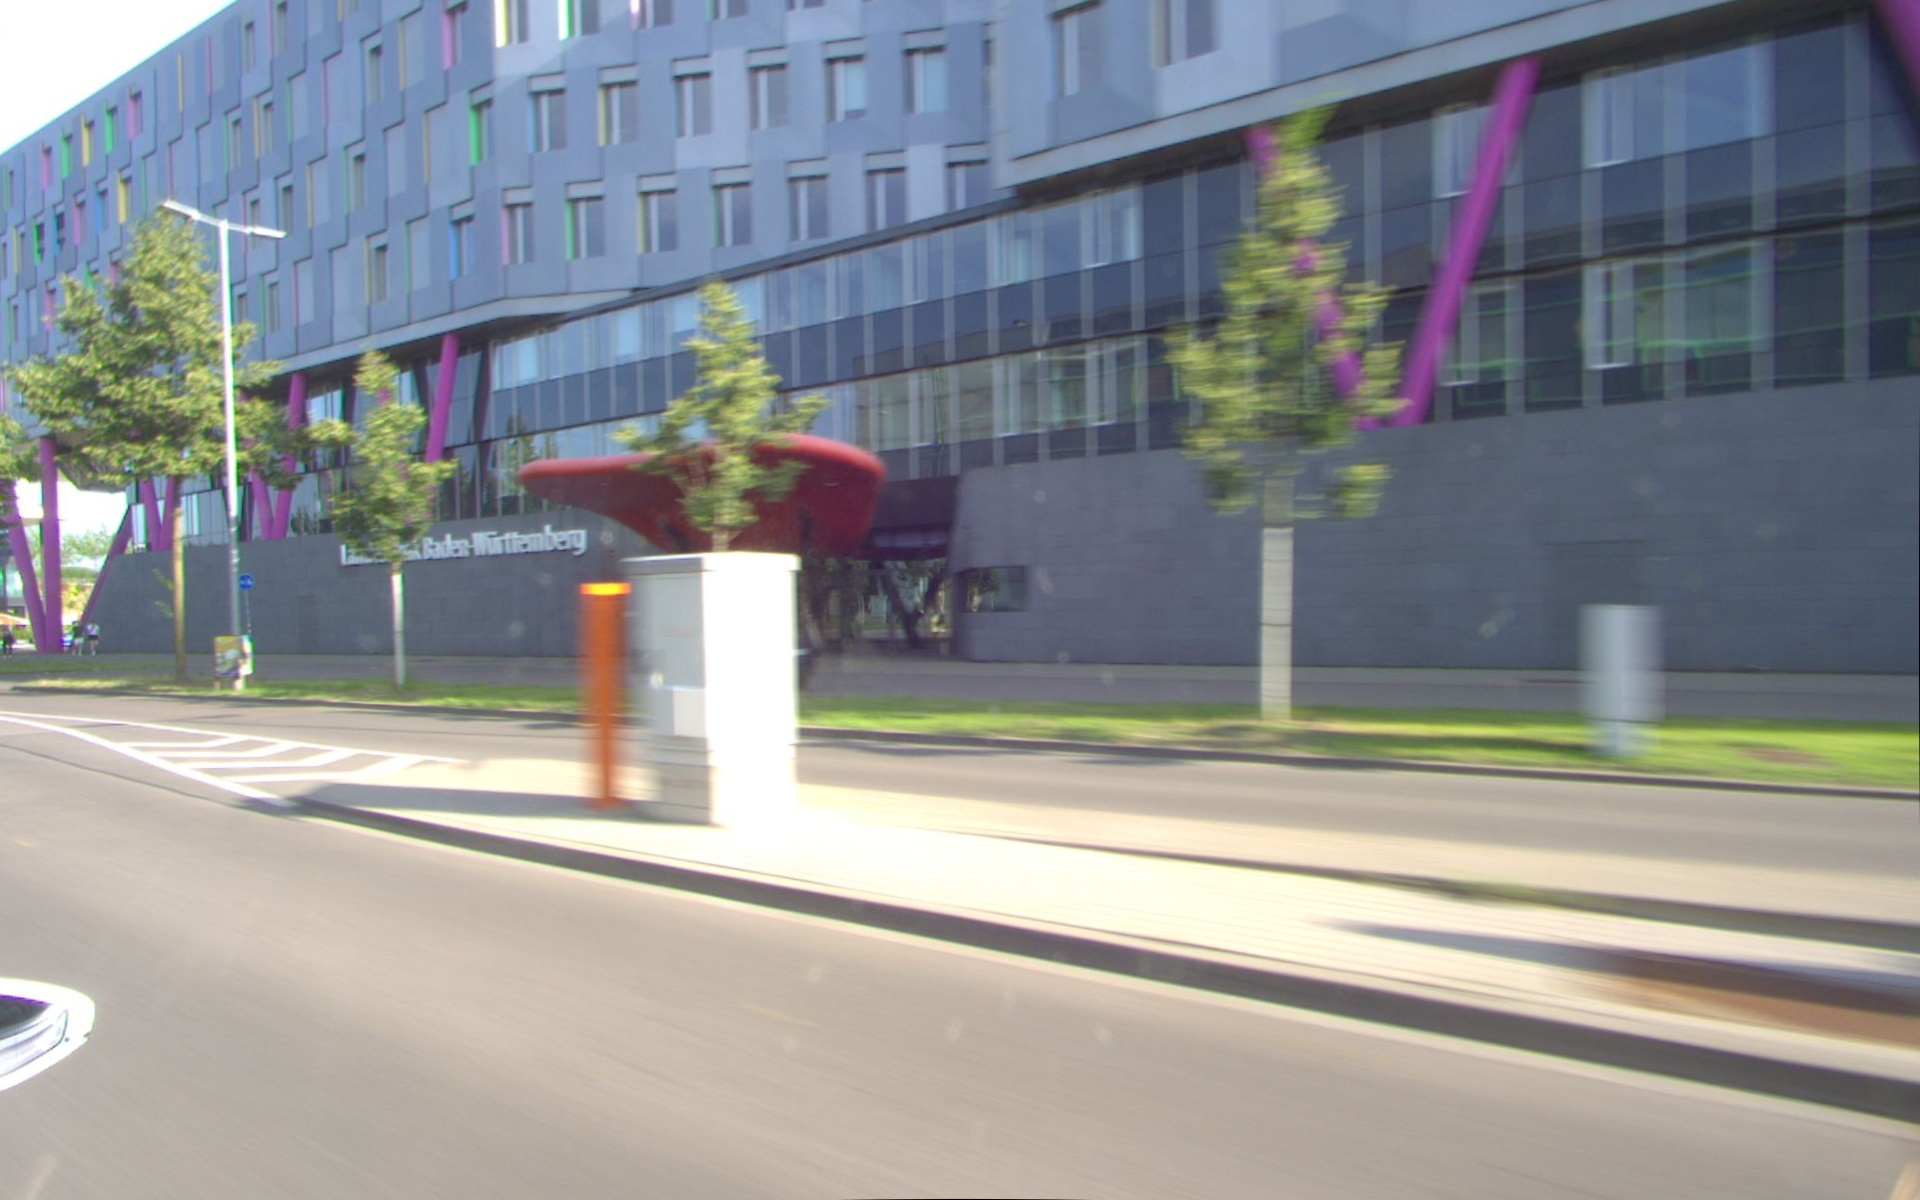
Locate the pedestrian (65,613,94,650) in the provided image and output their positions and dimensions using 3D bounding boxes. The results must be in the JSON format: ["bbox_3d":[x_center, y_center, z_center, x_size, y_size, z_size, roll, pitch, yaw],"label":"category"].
[{"bbox_3d":[-43.921,1.578,49.941,0.831,1.818,0.753,-1,2,29],"label":"pedestrian"}]

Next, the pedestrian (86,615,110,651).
[{"bbox_3d":[-43.538,1.672,50.575,0.774,1.817,0.655,-1,0,29],"label":"pedestrian"}]

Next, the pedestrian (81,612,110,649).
[{"bbox_3d":[-43.614,1.543,50.520,0.840,1.850,0.766,-1,2,29],"label":"pedestrian"}]

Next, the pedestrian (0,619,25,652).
[{"bbox_3d":[-48.578,1.816,51.330,0.725,1.661,0.693,-1,2,29],"label":"pedestrian"}]

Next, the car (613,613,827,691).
[{"bbox_3d":[-4.860,0.986,20.159,4.135,1.408,1.690,-1,0,29],"label":"car"}]
